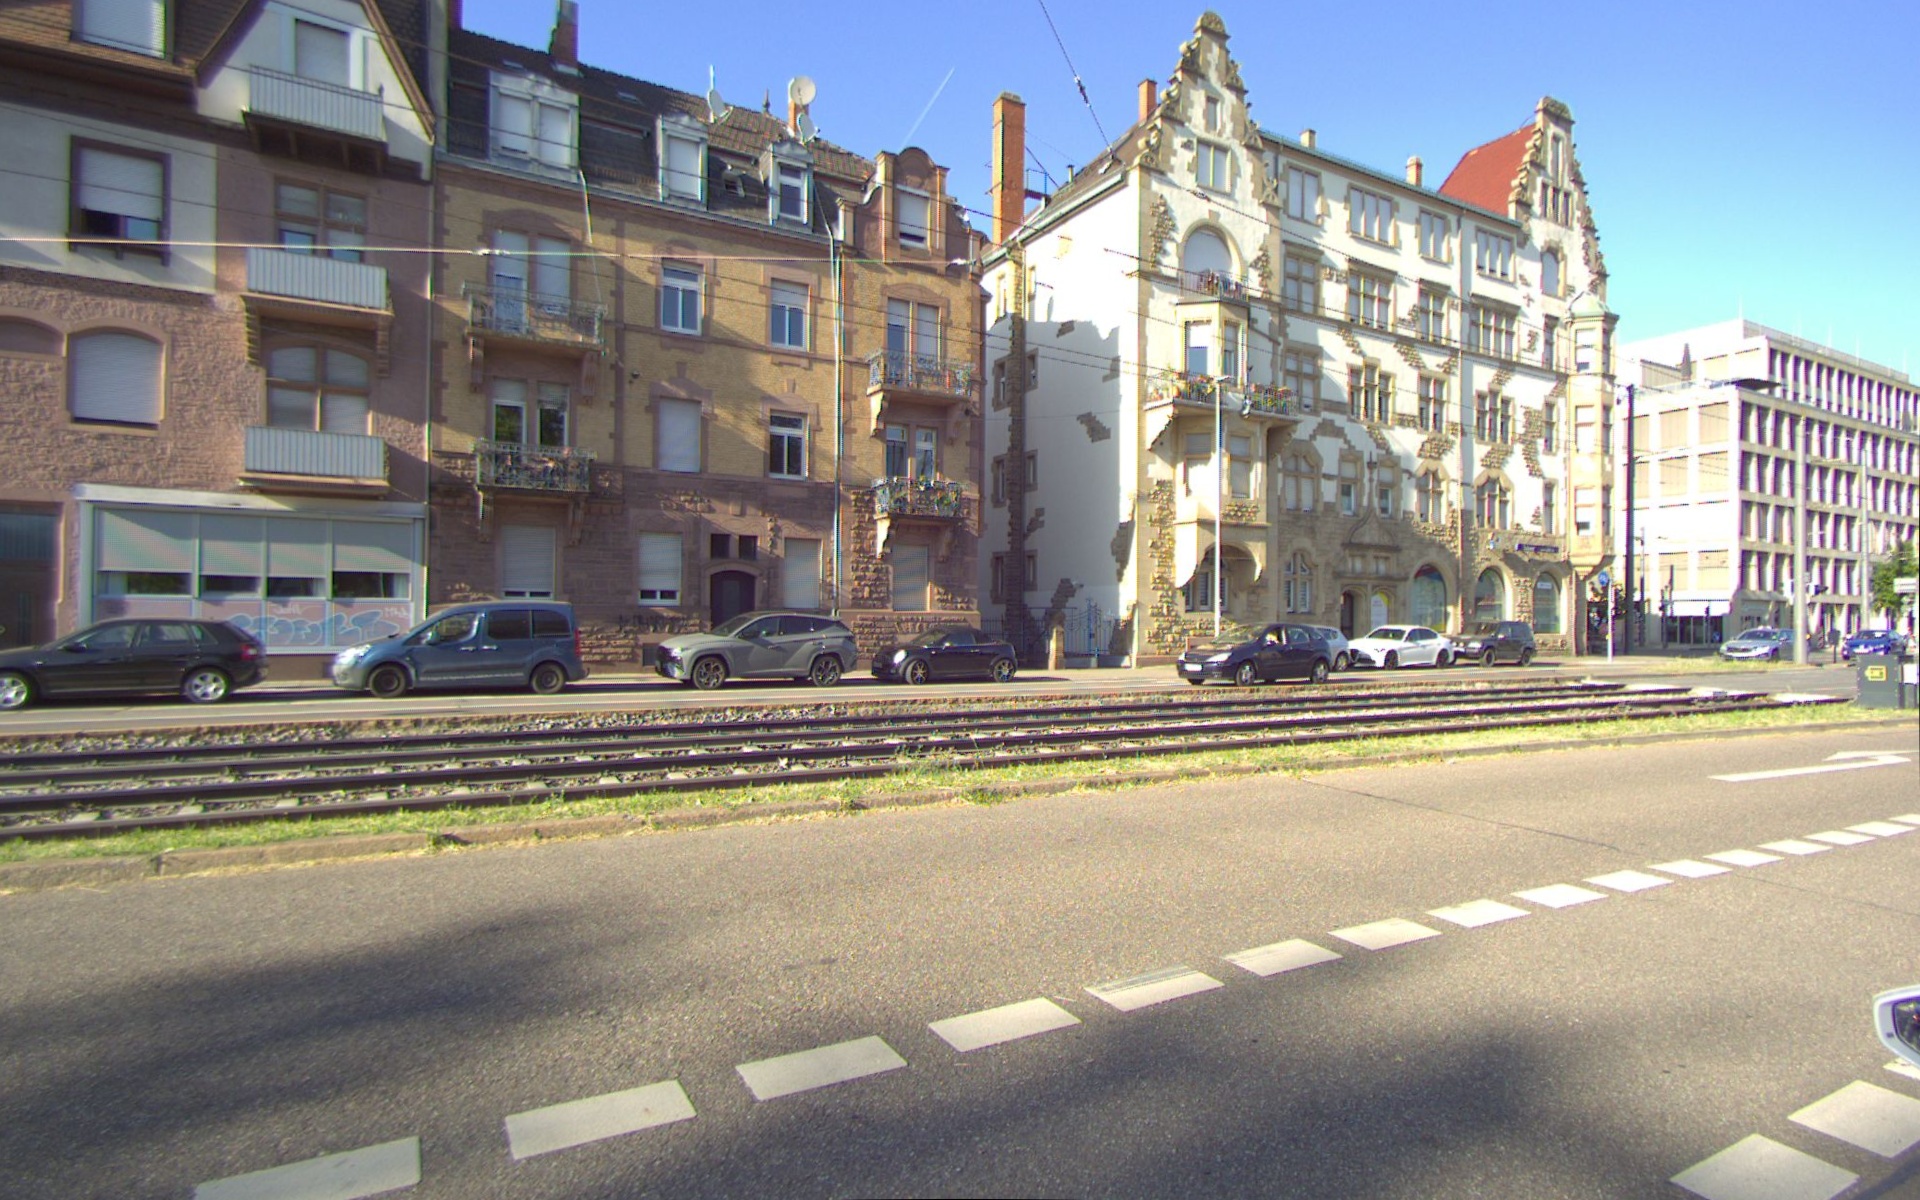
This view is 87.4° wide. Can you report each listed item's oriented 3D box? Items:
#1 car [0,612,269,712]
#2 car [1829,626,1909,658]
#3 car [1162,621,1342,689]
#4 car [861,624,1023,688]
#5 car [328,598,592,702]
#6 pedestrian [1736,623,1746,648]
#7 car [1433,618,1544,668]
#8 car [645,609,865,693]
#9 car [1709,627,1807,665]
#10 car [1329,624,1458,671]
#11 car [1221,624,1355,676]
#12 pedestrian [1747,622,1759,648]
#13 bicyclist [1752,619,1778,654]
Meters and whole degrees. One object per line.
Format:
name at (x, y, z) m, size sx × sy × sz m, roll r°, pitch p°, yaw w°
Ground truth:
car at (-14.056, 0.987, 16.873) m, size 3.883 × 1.457 × 1.686 m, roll 1°, pitch 2°, yaw -31°
car at (42.949, 1.967, 47.454) m, size 4.112 × 1.476 × 1.810 m, roll 1°, pitch -2°, yaw -33°
car at (6.896, 1.245, 23.631) m, size 4.119 × 1.476 × 1.811 m, roll 1°, pitch -2°, yaw -32°
car at (-0.428, 1.338, 24.822) m, size 3.683 × 1.373 × 1.614 m, roll 1°, pitch 2°, yaw -31°
car at (-9.582, 0.912, 19.495) m, size 4.362 × 1.782 × 1.878 m, roll 1°, pitch 2°, yaw -28°
pedestrian at (57.090, 2.587, 73.398) m, size 0.464 × 1.868 × 0.443 m, roll 0°, pitch -1°, yaw 23°
car at (19.453, 1.551, 36.929) m, size 4.169 × 1.698 × 1.707 m, roll 1°, pitch 1°, yaw -32°
car at (-4.552, 1.084, 22.486) m, size 4.451 × 1.644 × 1.846 m, roll 1°, pitch 2°, yaw -31°
car at (32.706, 1.858, 41.147) m, size 4.491 × 1.476 × 1.810 m, roll 1°, pitch -2°, yaw -33°
car at (14.785, 1.576, 34.202) m, size 4.603 × 1.442 × 1.707 m, roll 1°, pitch 1°, yaw -32°
car at (10.229, 1.497, 31.264) m, size 4.177 × 1.450 × 1.699 m, roll 1°, pitch 1°, yaw -32°
pedestrian at (57.649, 2.546, 73.029) m, size 0.522 × 1.868 × 0.443 m, roll 0°, pitch -1°, yaw 23°
bicyclist at (37.334, 1.699, 46.590) m, size 0.775 × 1.583 × 0.682 m, roll 1°, pitch -2°, yaw -28°
